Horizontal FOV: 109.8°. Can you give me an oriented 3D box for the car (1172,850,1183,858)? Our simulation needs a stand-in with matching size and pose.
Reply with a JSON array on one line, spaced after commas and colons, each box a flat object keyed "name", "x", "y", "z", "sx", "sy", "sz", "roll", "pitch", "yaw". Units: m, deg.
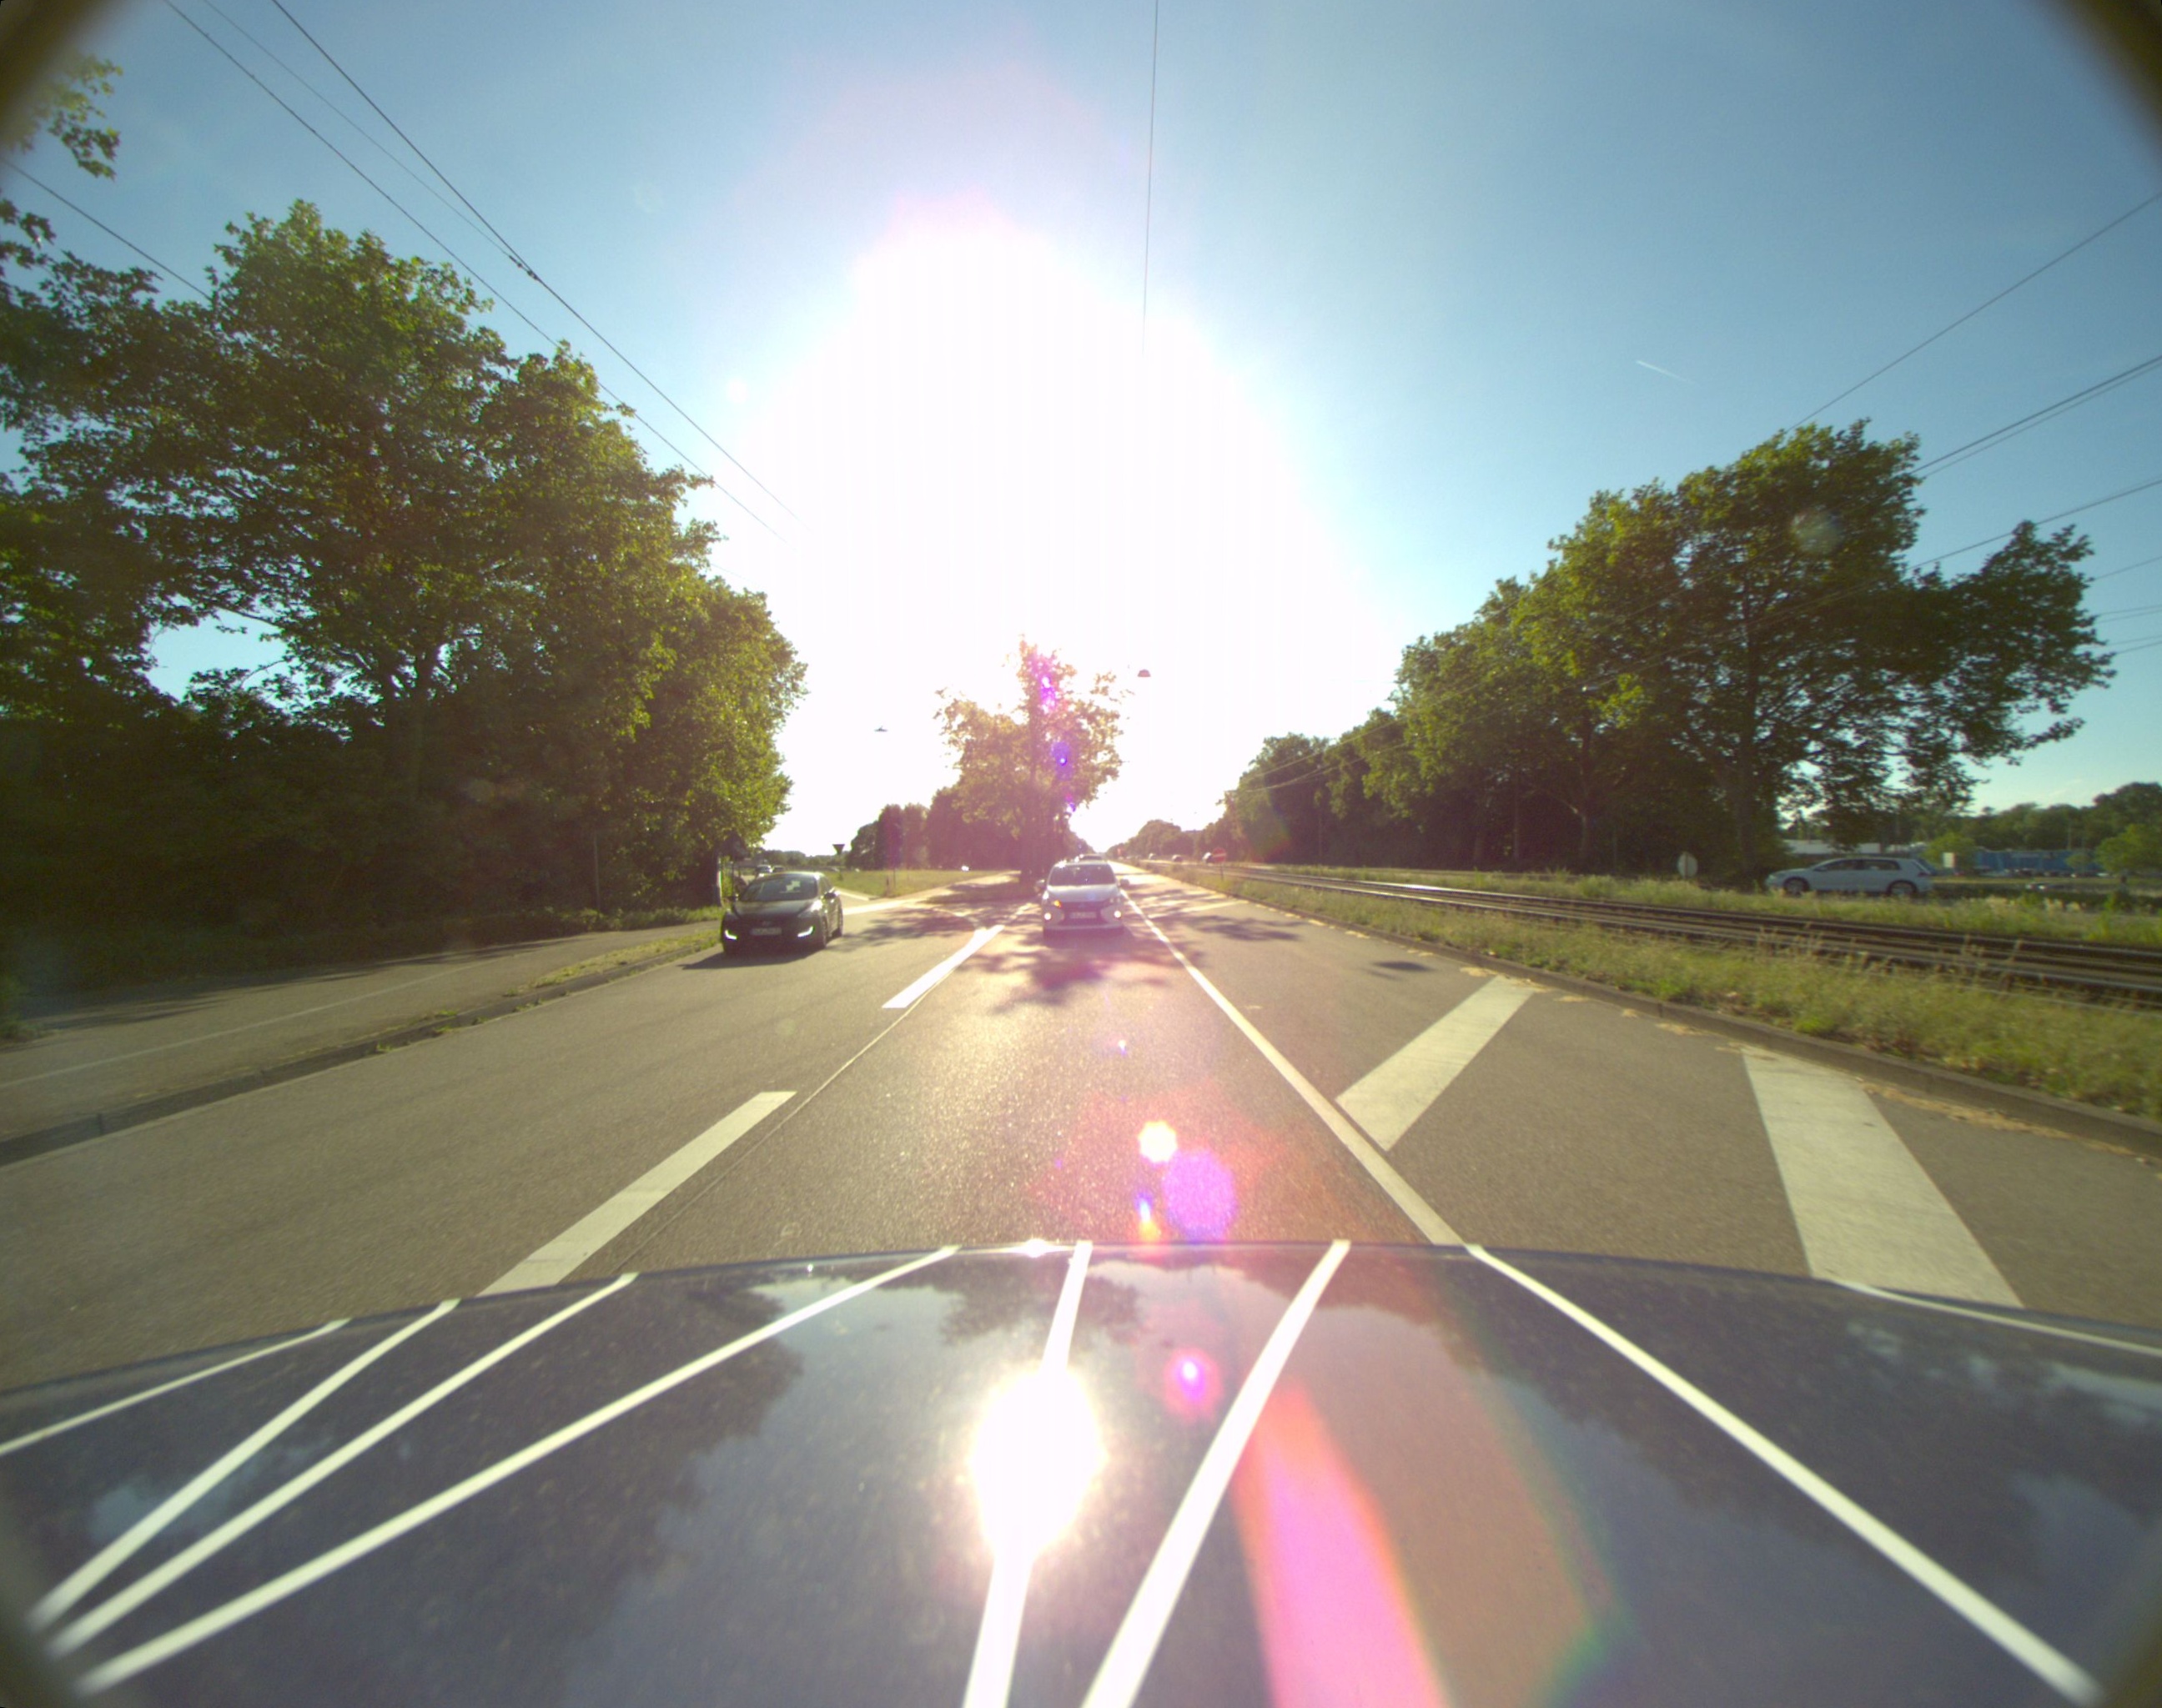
[{"name": "car", "x": 19.926, "y": 0.037, "z": 157.273, "sx": 1.715, "sy": 1.459, "sz": 4.347, "roll": 1, "pitch": 0, "yaw": -1}]

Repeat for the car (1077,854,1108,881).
[{"name": "car", "x": 0.723, "y": 0.782, "z": 46.036, "sx": 1.709, "sy": 1.512, "sz": 3.844, "roll": -2, "pitch": 1, "yaw": 1}]

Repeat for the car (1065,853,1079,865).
[{"name": "car", "x": -1.415, "y": 0.743, "z": 119.384, "sx": 1.887, "sy": 1.789, "sz": 3.644, "roll": -2, "pitch": 0, "yaw": -3}]

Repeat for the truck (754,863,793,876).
[{"name": "truck", "x": -91.596, "y": 4.669, "z": 226.395, "sx": 10.626, "sy": 3.474, "sz": 2.646, "roll": 3, "pitch": -1, "yaw": -28}]

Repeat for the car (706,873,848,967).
[{"name": "car", "x": -5.923, "y": 1.196, "z": 15.328, "sx": 1.799, "sy": 1.432, "sz": 4.219, "roll": -2, "pitch": 0, "yaw": -10}]

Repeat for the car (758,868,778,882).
[{"name": "car", "x": -34.327, "y": 2.251, "z": 83.279, "sx": 1.800, "sy": 1.432, "sz": 4.215, "roll": -2, "pitch": 1, "yaw": -24}]

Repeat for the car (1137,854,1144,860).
[{"name": "car", "x": 20.160, "y": 1.005, "z": 257.750, "sx": 1.851, "sy": 1.724, "sz": 4.930, "roll": 1, "pitch": 1, "yaw": -1}]

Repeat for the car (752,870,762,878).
[{"name": "car", "x": -72.125, "y": 4.422, "z": 169.223, "sx": 1.817, "sy": 1.762, "sz": 3.855, "roll": -2, "pitch": 1, "yaw": -23}]

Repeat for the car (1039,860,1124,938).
[{"name": "car", "x": 0.060, "y": 0.940, "z": 17.602, "sx": 1.709, "sy": 1.503, "sz": 3.862, "roll": -2, "pitch": 1, "yaw": 1}]

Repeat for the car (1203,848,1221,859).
[{"name": "car", "x": 20.531, "y": -0.098, "z": 119.074, "sx": 1.903, "sy": 1.684, "sz": 4.940, "roll": 1, "pitch": 0, "yaw": -1}]

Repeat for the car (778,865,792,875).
[{"name": "car", "x": -47.085, "y": 2.530, "z": 120.790, "sx": 1.697, "sy": 1.409, "sz": 4.126, "roll": -2, "pitch": 1, "yaw": -28}]

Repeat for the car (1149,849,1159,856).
[{"name": "car", "x": 20.007, "y": -0.466, "z": 208.407, "sx": 1.968, "sy": 1.697, "sz": 4.943, "roll": 1, "pitch": 1, "yaw": -2}]

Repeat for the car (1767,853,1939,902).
[{"name": "car", "x": 28.098, "y": 0.799, "z": 27.882, "sx": 4.260, "sy": 1.517, "sz": 1.662, "roll": 2, "pitch": 3, "yaw": 41}]
